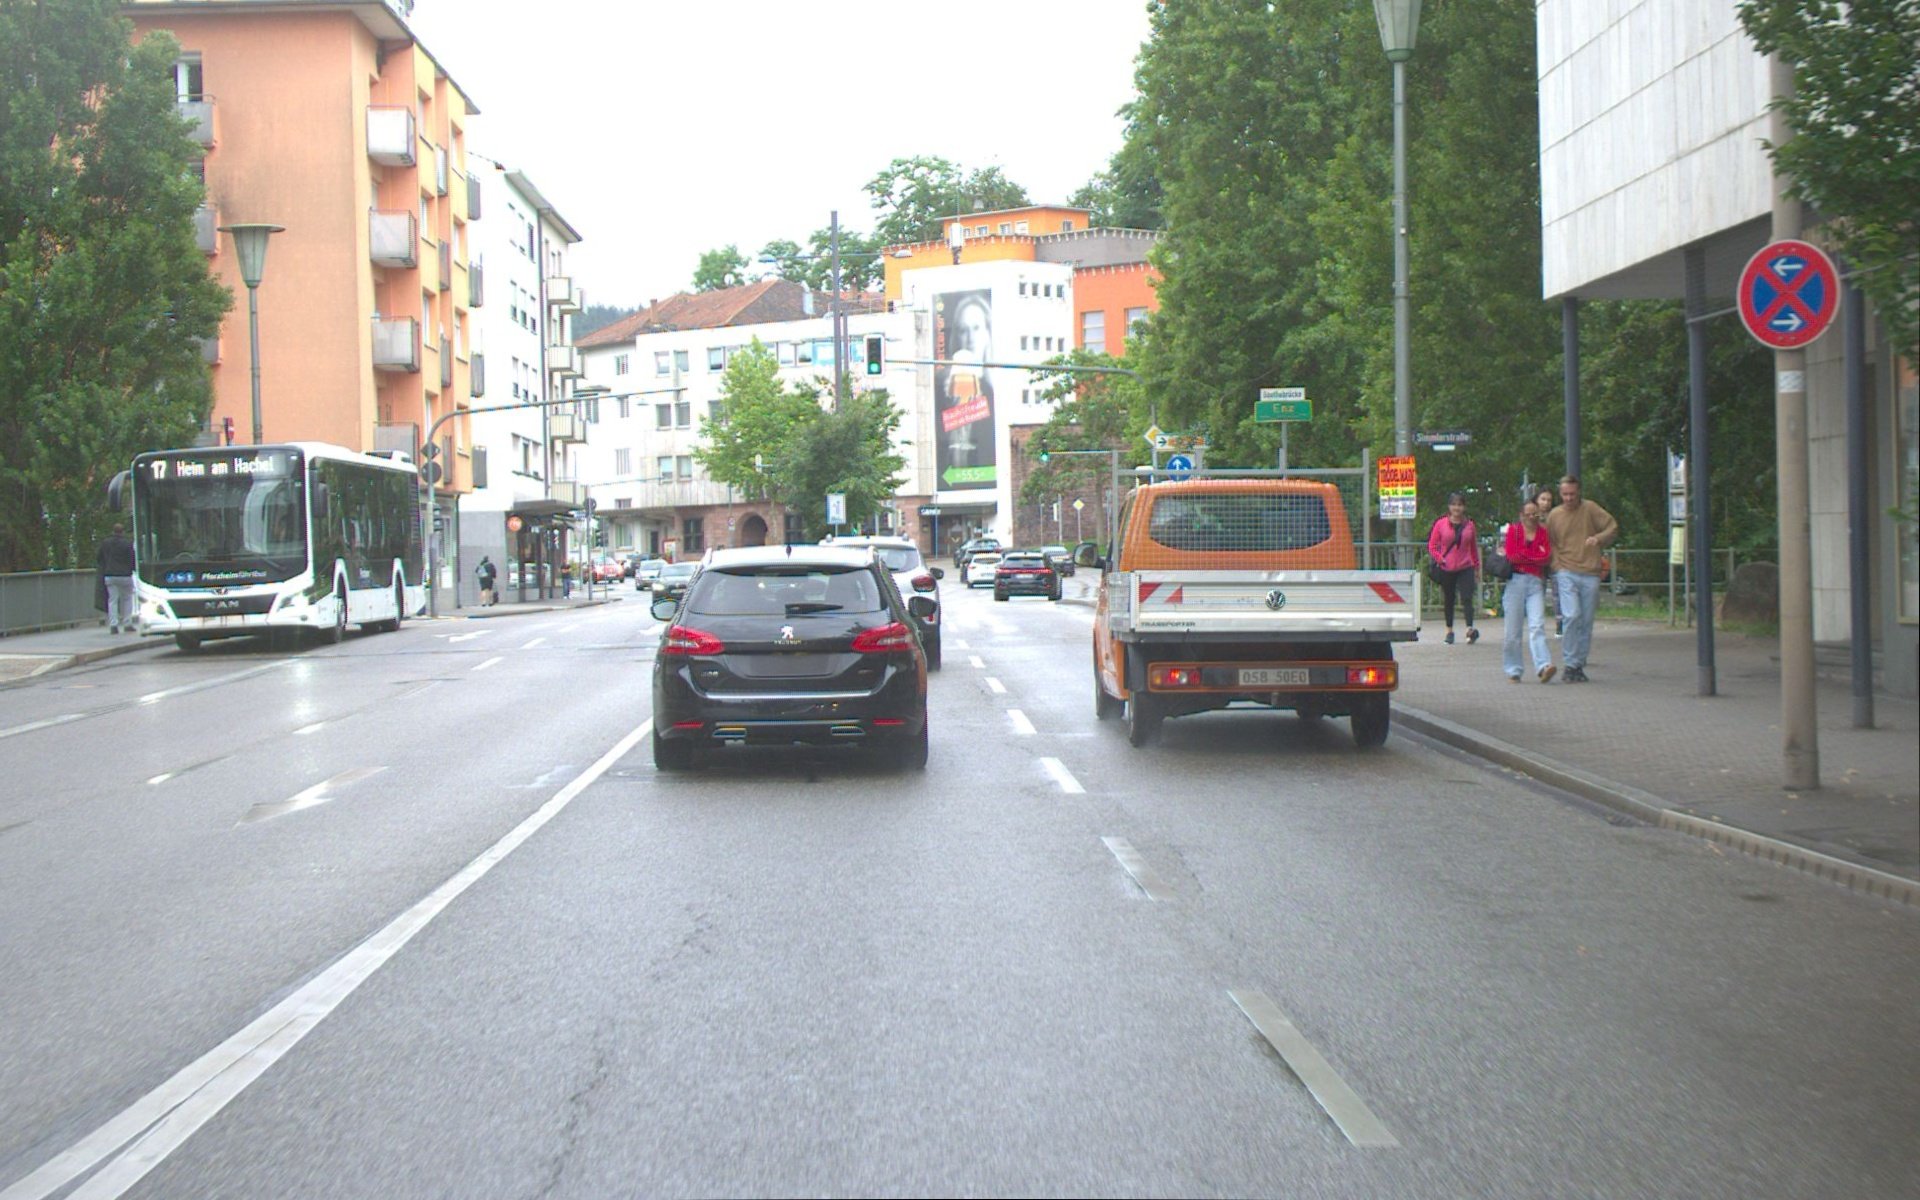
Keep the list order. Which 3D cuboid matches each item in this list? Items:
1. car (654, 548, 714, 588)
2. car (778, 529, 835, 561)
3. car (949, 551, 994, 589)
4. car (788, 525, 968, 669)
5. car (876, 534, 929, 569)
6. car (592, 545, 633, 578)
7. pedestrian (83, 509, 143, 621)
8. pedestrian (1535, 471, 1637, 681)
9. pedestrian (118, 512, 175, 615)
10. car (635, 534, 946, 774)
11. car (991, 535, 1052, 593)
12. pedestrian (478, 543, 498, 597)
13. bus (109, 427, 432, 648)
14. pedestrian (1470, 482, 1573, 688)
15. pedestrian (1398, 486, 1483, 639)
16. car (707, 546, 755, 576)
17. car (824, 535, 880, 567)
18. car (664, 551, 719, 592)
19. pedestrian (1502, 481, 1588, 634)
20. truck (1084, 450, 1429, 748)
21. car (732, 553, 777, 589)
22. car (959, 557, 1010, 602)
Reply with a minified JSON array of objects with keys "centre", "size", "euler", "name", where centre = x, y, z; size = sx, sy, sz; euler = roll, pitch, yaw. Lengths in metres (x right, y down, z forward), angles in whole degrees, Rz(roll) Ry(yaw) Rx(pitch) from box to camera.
[{"centre":[-9.556,-1.124,119.308],"size":[1.791,1.320,4.407],"euler":[-2,1,-2],"name":"car"},{"centre":[-7.959,-2.847,178.552],"size":[1.644,1.559,3.600],"euler":[2,-2,-26],"name":"car"},{"centre":[0.497,-1.352,154.886],"size":[1.644,1.559,3.600],"euler":[1,-1,-5],"name":"car"},{"centre":[-0.871,-0.059,38.616],"size":[1.795,1.478,4.000],"euler":[-2,1,1],"name":"car"},{"centre":[-2.856,-2.400,170.908],"size":[1.993,1.678,4.001],"euler":[-2,1,-10],"name":"car"},{"centre":[-18.799,-2.092,185.888],"size":[1.993,1.678,4.001],"euler":[-2,1,-8],"name":"car"},{"centre":[-13.701,-0.560,55.631],"size":[0.698,1.788,0.958],"euler":[-1,0,2],"name":"pedestrian"},{"centre":[5.508,-0.214,30.269],"size":[0.698,1.795,0.607],"euler":[-3,1,-1],"name":"pedestrian"},{"centre":[-14.362,-0.643,60.711],"size":[0.797,1.788,0.812],"euler":[-1,0,1],"name":"pedestrian"},{"centre":[-1.059,0.324,23.273],"size":[1.795,1.478,4.000],"euler":[0,0,2],"name":"car"},{"centre":[1.823,-1.057,102.167],"size":[1.644,1.559,3.600],"euler":[1,-1,-1],"name":"car"},{"centre":[-16.160,-1.028,117.704],"size":[0.639,1.854,0.524],"euler":[-1,1,-3],"name":"pedestrian"},{"centre":[-10.698,-1.145,54.800],"size":[2.744,3.065,12.239],"euler":[-1,2,-1],"name":"bus"},{"centre":[4.958,-0.142,30.387],"size":[0.653,1.761,0.923],"euler":[-3,1,-1],"name":"pedestrian"},{"centre":[5.196,-0.410,37.230],"size":[0.717,1.614,0.769],"euler":[-3,1,-1],"name":"pedestrian"},{"centre":[-11.335,-1.900,170.044],"size":[1.664,1.395,3.878],"euler":[-3,1,-14],"name":"car"},{"centre":[-5.737,-2.589,182.165],"size":[1.644,1.559,3.600],"euler":[2,-2,-26],"name":"car"},{"centre":[-10.593,-1.134,135.937],"size":[1.836,1.504,4.821],"euler":[-2,1,-1],"name":"car"},{"centre":[6.247,-0.457,36.724],"size":[0.726,1.584,0.607],"euler":[-3,1,-1],"name":"pedestrian"},{"centre":[2.097,-0.048,25.686],"size":[2.122,2.018,4.716],"euler":[0,1,-1],"name":"truck"},{"centre":[-8.458,-1.202,141.718],"size":[1.665,1.395,3.877],"euler":[-3,1,-2],"name":"car"},{"centre":[1.001,-0.888,144.529],"size":[1.993,1.815,4.000],"euler":[-1,1,-1],"name":"car"}]
